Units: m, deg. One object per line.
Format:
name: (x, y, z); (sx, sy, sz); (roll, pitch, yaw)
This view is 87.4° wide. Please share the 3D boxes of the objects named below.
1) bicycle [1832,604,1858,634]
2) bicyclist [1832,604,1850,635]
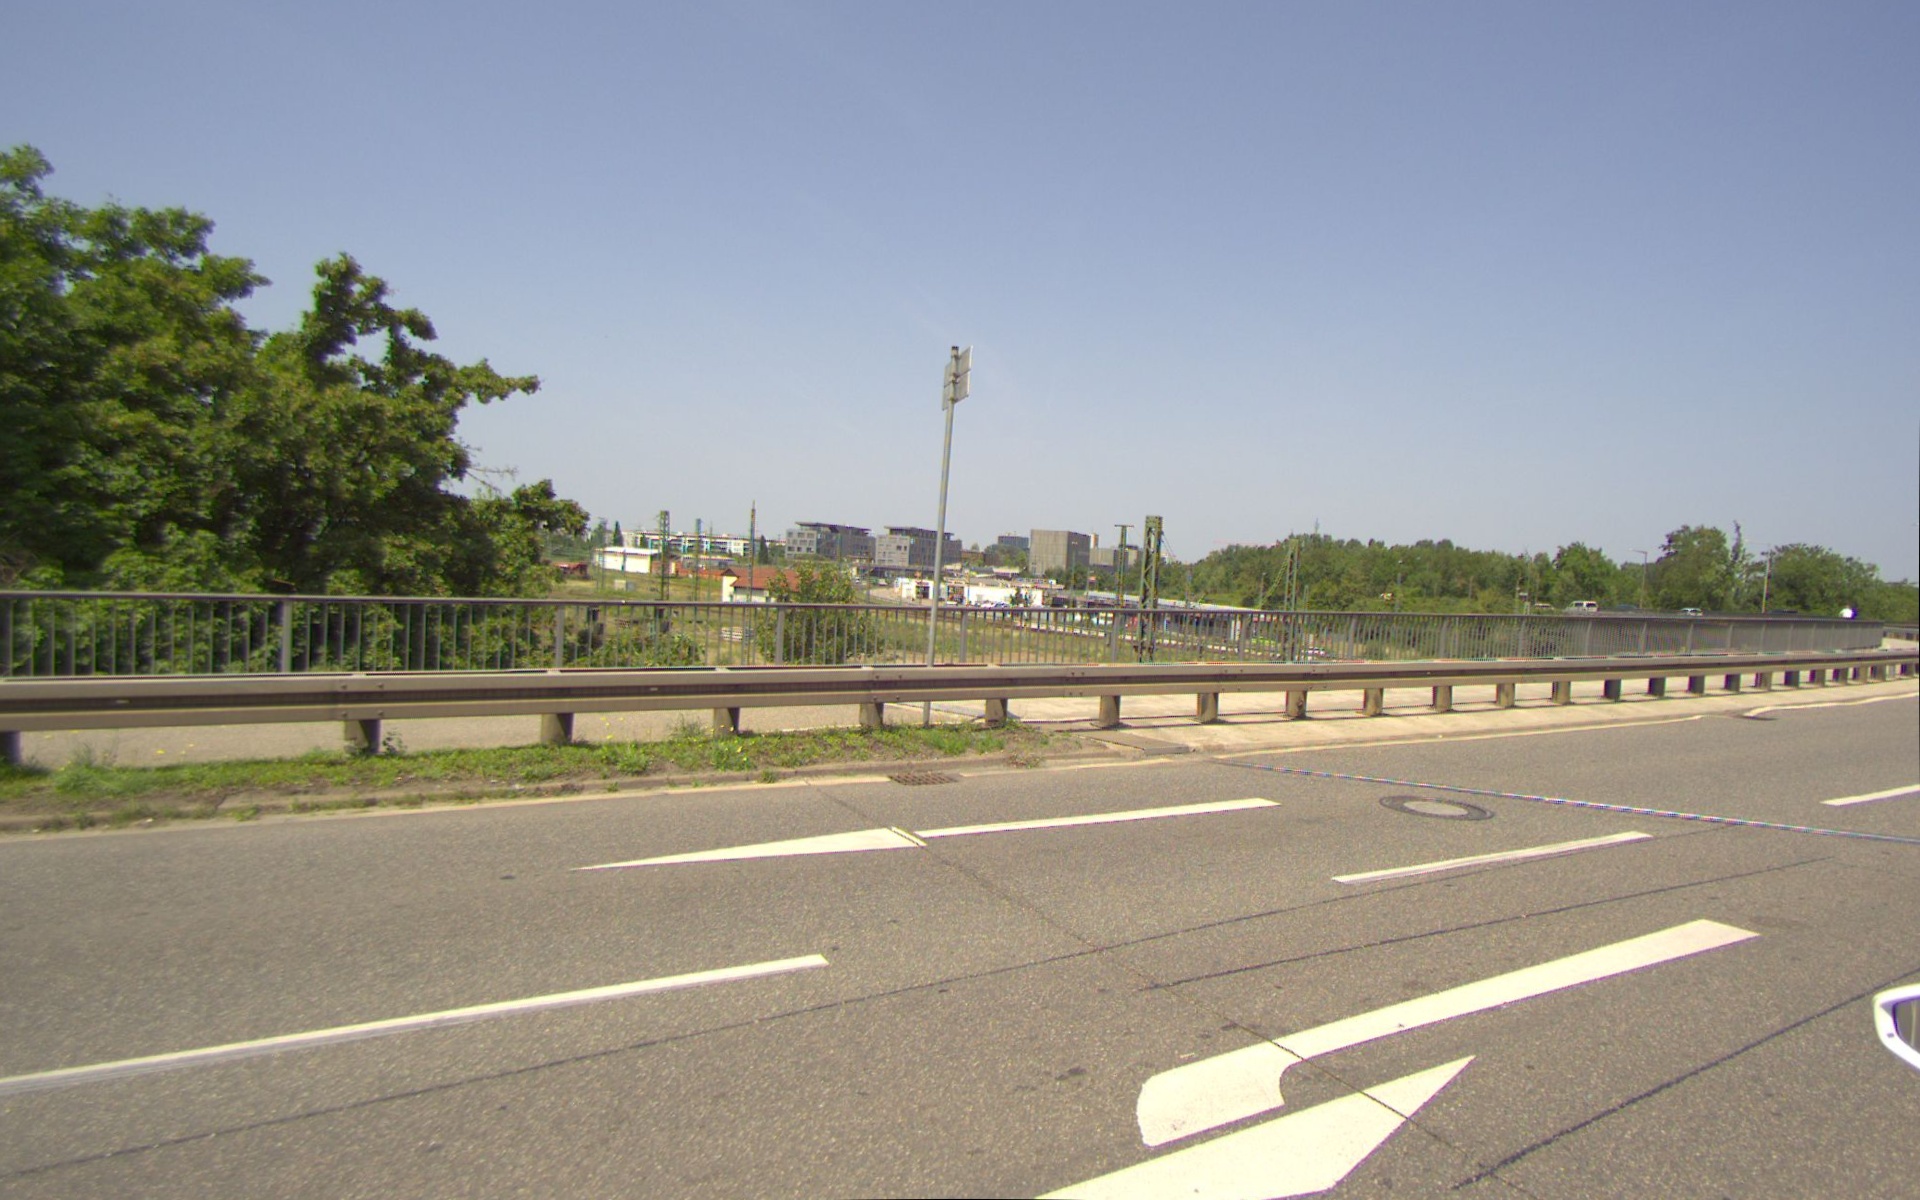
bicycle: (56.189, 1.205, 63.817); (0.687, 1.826, 2.177); (3, 2, 29)
bicyclist: (56.465, 1.248, 64.374); (0.615, 1.911, 0.711); (3, 2, 28)
